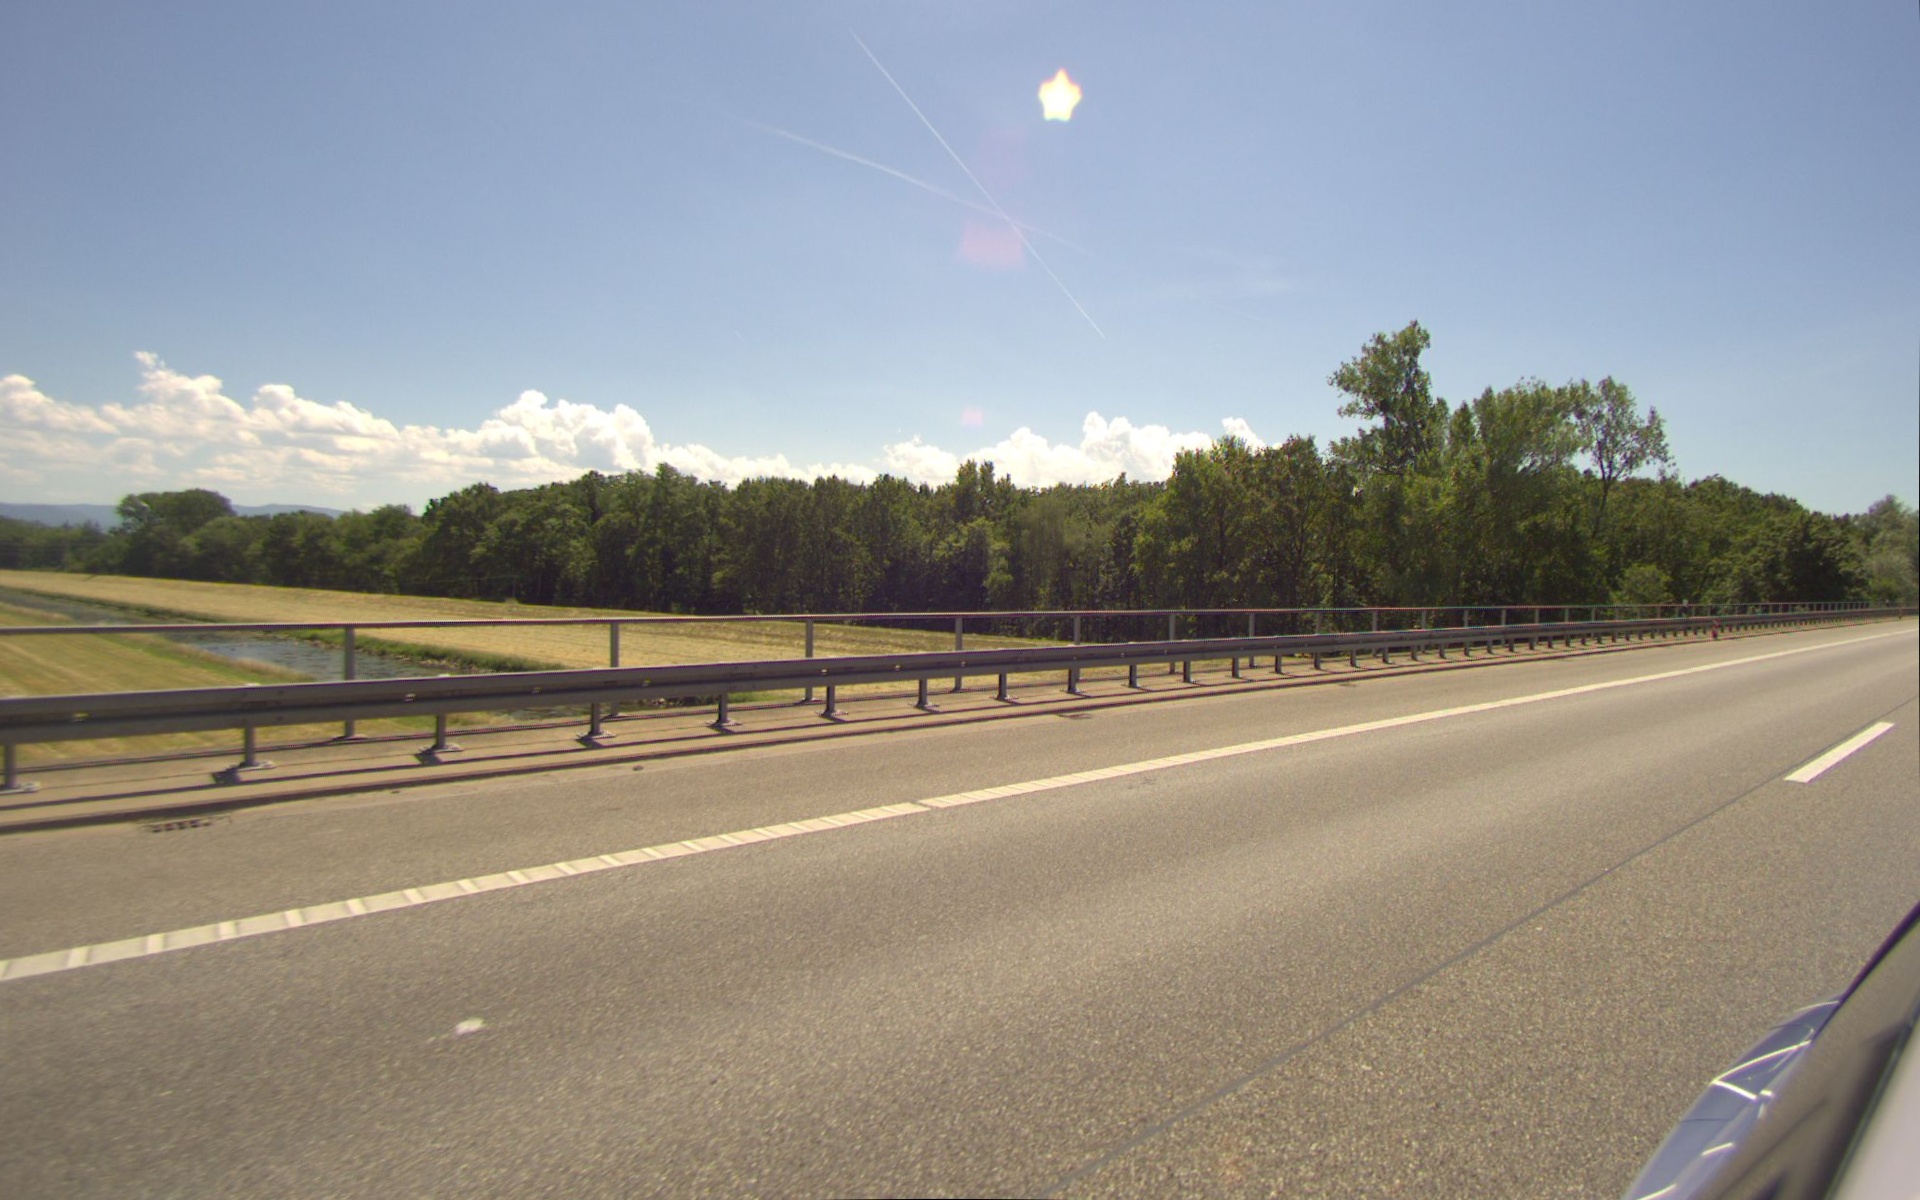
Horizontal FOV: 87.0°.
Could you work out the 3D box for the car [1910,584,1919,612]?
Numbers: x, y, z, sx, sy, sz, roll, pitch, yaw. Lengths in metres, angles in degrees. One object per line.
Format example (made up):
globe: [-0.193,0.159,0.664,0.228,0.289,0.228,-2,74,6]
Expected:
car: [65.434,-0.103,68.109,3.932,1.839,1.933,0,0,-43]
